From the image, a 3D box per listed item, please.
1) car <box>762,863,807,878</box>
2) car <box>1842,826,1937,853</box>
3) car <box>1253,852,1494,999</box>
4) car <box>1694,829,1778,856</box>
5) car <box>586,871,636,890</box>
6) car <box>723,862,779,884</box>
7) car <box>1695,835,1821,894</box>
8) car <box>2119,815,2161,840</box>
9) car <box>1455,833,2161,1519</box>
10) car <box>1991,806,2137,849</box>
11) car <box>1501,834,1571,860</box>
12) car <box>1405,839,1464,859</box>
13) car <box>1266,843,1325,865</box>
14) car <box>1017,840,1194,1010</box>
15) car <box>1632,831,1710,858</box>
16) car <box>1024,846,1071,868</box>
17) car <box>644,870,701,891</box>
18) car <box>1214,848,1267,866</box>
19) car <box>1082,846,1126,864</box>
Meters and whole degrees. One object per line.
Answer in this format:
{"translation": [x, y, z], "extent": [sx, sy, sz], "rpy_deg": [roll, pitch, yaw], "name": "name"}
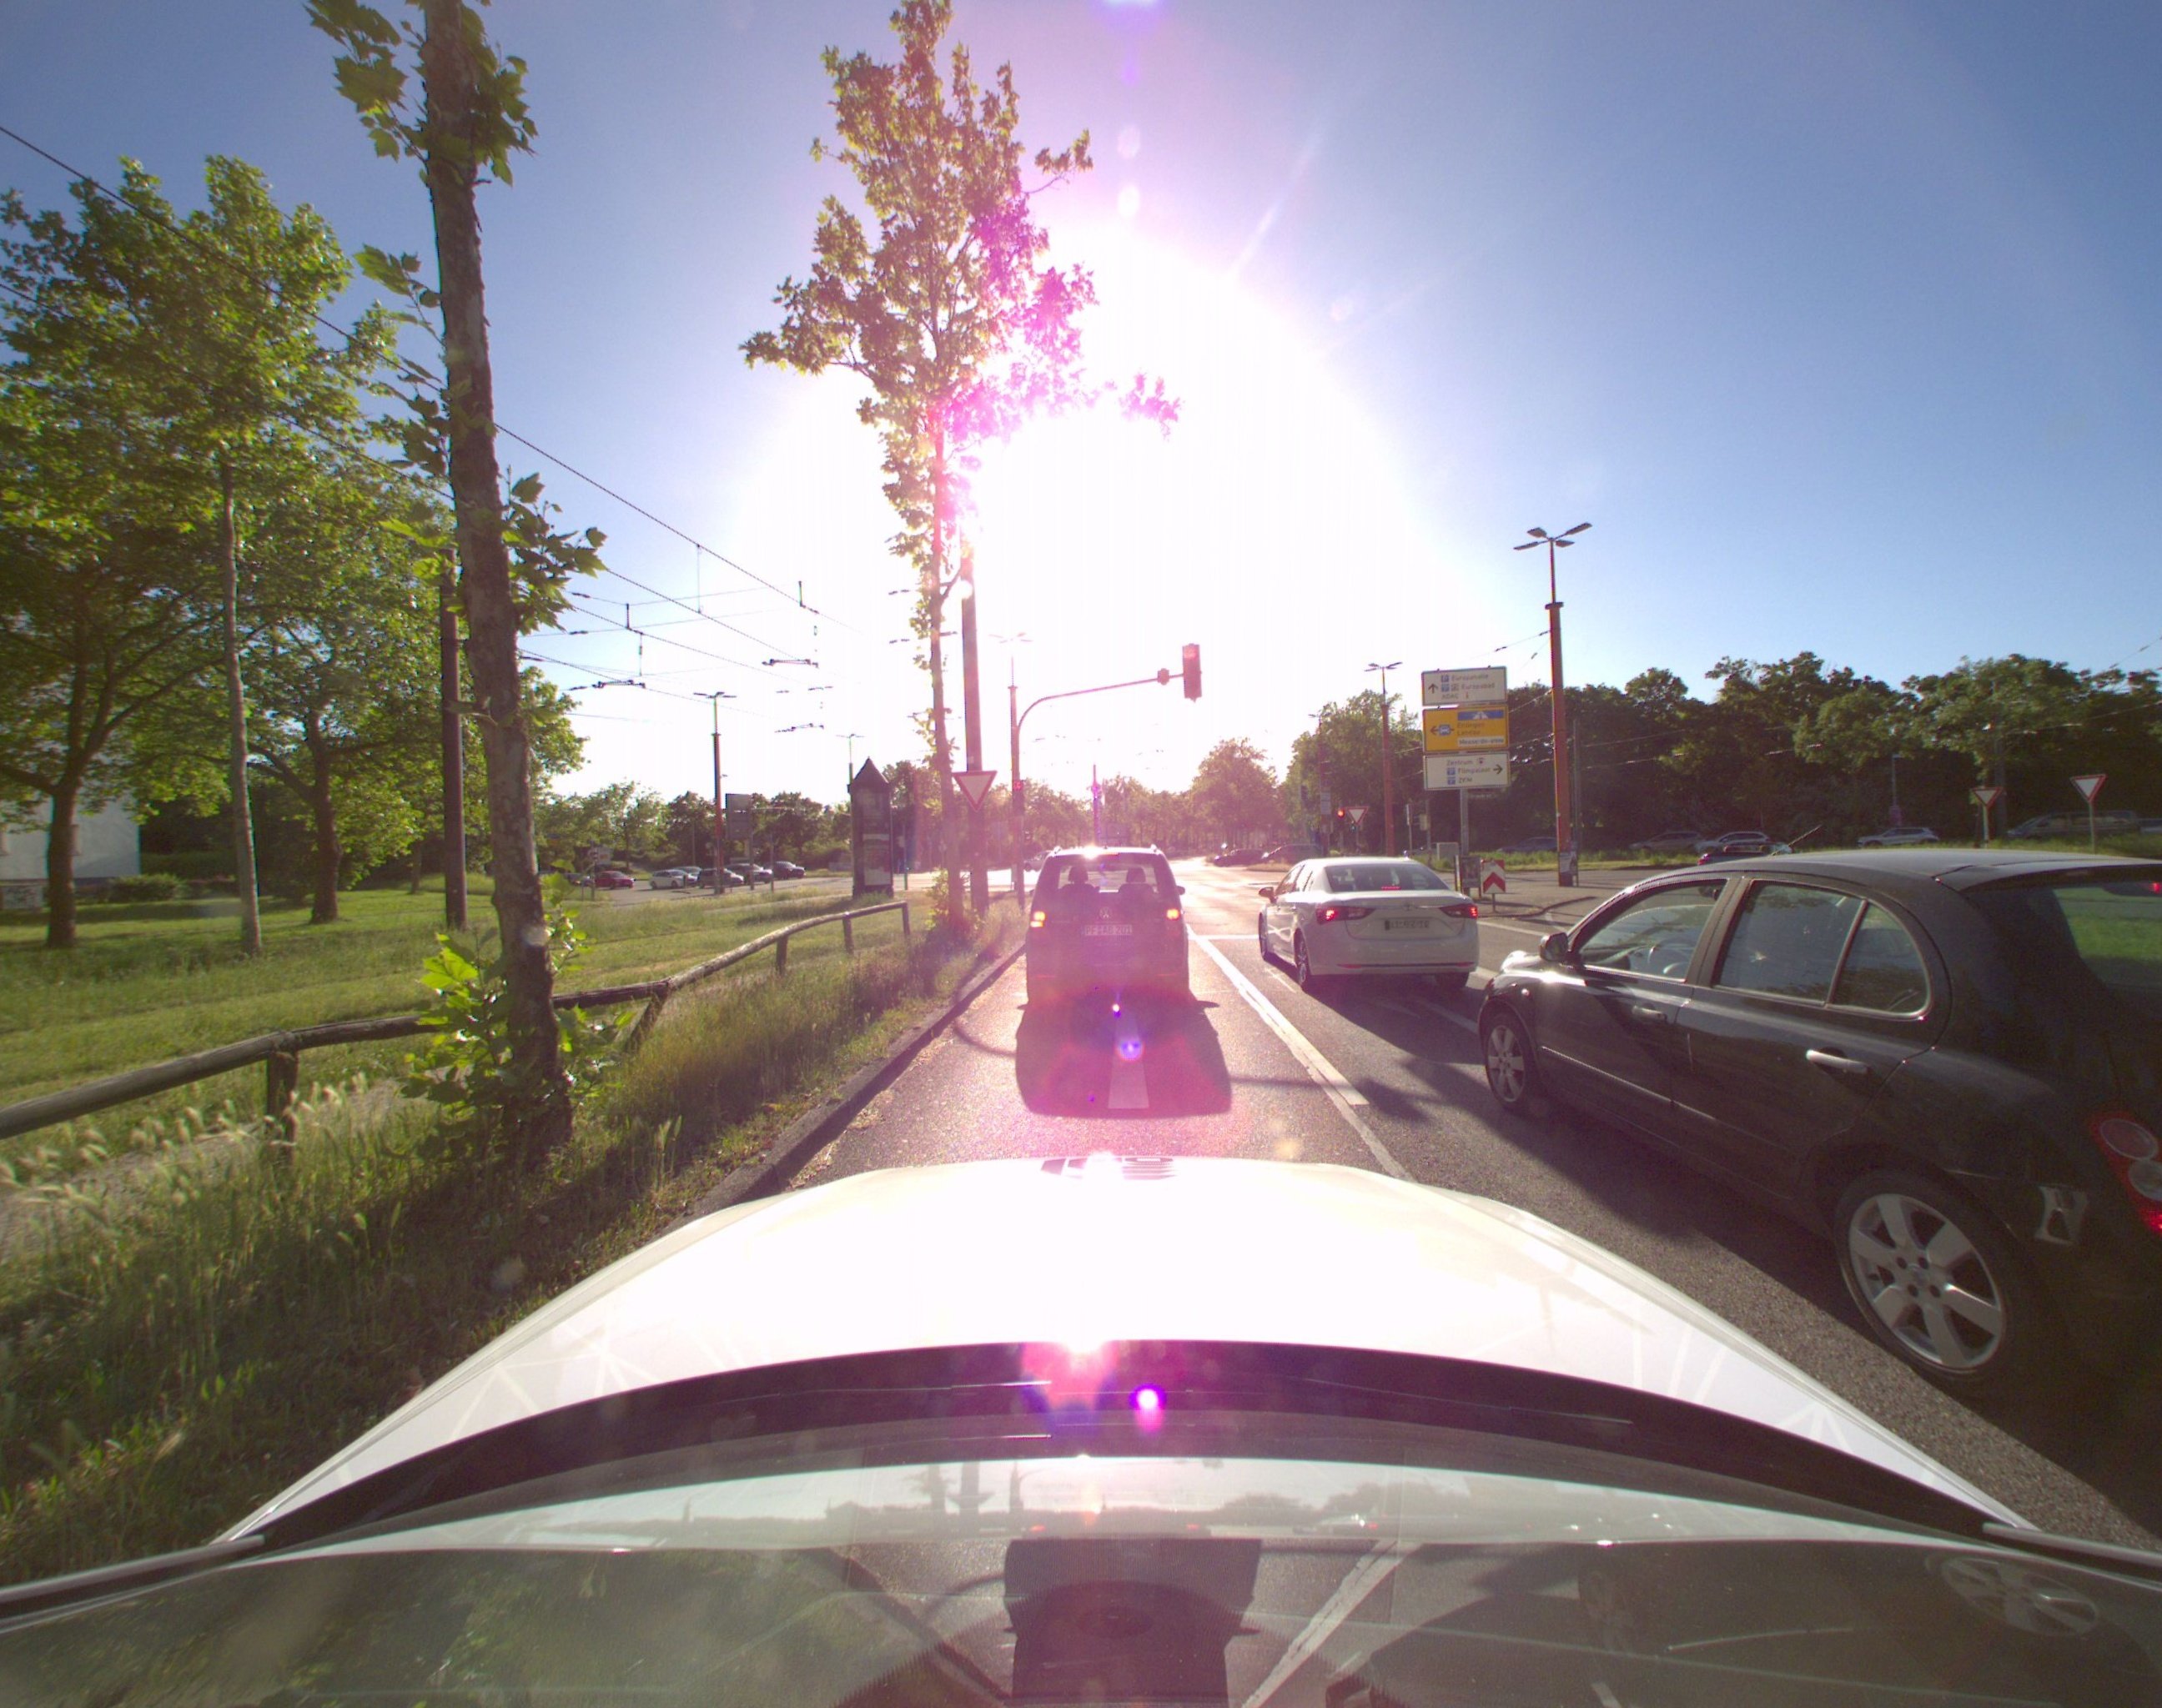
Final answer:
{"translation": [-26.525, 1.480, 72.845], "extent": [3.948, 1.330, 1.709], "rpy_deg": [-2, 0, 33], "name": "car"}
{"translation": [48.449, -0.876, 48.887], "extent": [3.700, 1.473, 1.610], "rpy_deg": [-2, 0, 28], "name": "car"}
{"translation": [3.329, 0.710, 10.144], "extent": [1.713, 1.438, 4.202], "rpy_deg": [-1, 0, 3], "name": "car"}
{"translation": [40.182, -0.694, 50.069], "extent": [3.782, 1.523, 1.706], "rpy_deg": [-2, 0, 31], "name": "car"}
{"translation": [-39.391, 2.232, 68.238], "extent": [3.949, 1.513, 1.743], "rpy_deg": [-2, 0, 27], "name": "car"}
{"translation": [-26.449, 1.539, 65.297], "extent": [3.950, 1.644, 2.012], "rpy_deg": [-2, 0, 26], "name": "car"}
{"translation": [18.802, 0.262, 22.553], "extent": [4.151, 1.450, 1.720], "rpy_deg": [-2, -1, -37], "name": "car"}
{"translation": [58.826, -1.429, 43.519], "extent": [3.792, 1.264, 1.613], "rpy_deg": [0, -1, 28], "name": "car"}
{"translation": [3.231, 0.697, 3.571], "extent": [1.647, 1.500, 3.617], "rpy_deg": [-1, 0, 2], "name": "car"}
{"translation": [52.176, -1.368, 43.364], "extent": [4.526, 2.013, 2.013], "rpy_deg": [-2, 0, 33], "name": "car"}
{"translation": [30.830, -0.484, 55.256], "extent": [4.080, 1.598, 1.840], "rpy_deg": [-2, 0, 29], "name": "car"}
{"translation": [26.583, -0.368, 61.215], "extent": [3.926, 1.441, 1.697], "rpy_deg": [0, -1, 29], "name": "car"}
{"translation": [16.630, 0.041, 63.197], "extent": [4.139, 1.644, 1.770], "rpy_deg": [0, -1, 28], "name": "car"}
{"translation": [0.294, 0.696, 9.929], "extent": [1.694, 1.621, 3.898], "rpy_deg": [-2, 0, 1], "name": "car"}
{"translation": [39.730, -0.640, 54.984], "extent": [4.080, 1.644, 1.864], "rpy_deg": [-2, 0, 31], "name": "car"}
{"translation": [-3.010, 0.286, 72.866], "extent": [3.797, 1.890, 1.774], "rpy_deg": [0, -1, 25], "name": "car"}
{"translation": [-32.432, 2.106, 64.629], "extent": [4.135, 1.612, 1.880], "rpy_deg": [-2, 0, 27], "name": "car"}
{"translation": [13.425, 0.269, 68.559], "extent": [4.082, 1.511, 1.834], "rpy_deg": [0, -1, 28], "name": "car"}
{"translation": [2.095, 0.113, 74.596], "extent": [3.608, 1.655, 1.690], "rpy_deg": [0, -1, 27], "name": "car"}
